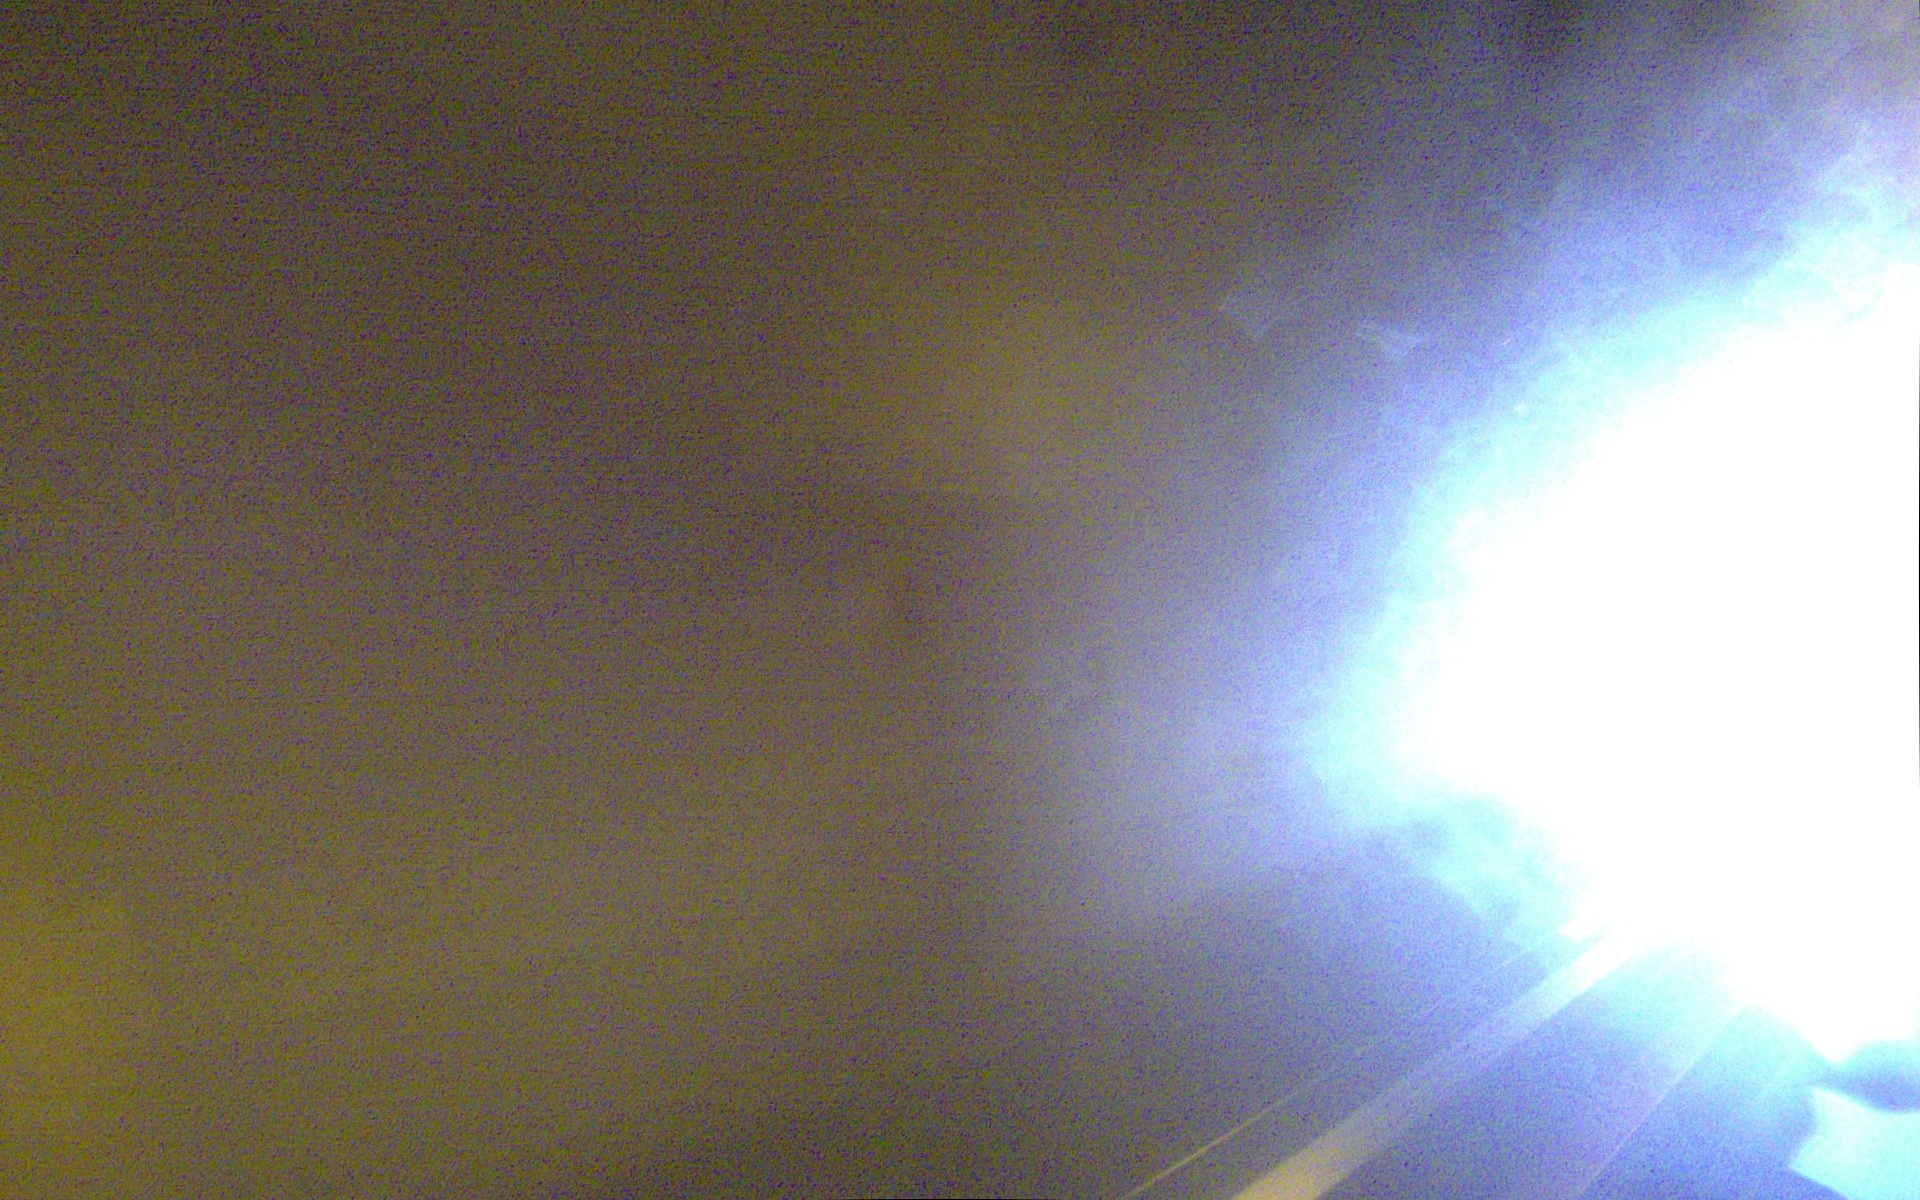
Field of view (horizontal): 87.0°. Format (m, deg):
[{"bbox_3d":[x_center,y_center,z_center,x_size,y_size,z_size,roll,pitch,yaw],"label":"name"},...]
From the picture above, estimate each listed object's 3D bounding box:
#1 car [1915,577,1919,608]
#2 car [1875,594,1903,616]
[{"bbox_3d":[64.946,-0.488,67.085,1.890,2.038,3.947,1,2,37],"label":"car"},{"bbox_3d":[78.362,0.400,85.403,1.703,1.794,3.939,2,2,42],"label":"car"}]
